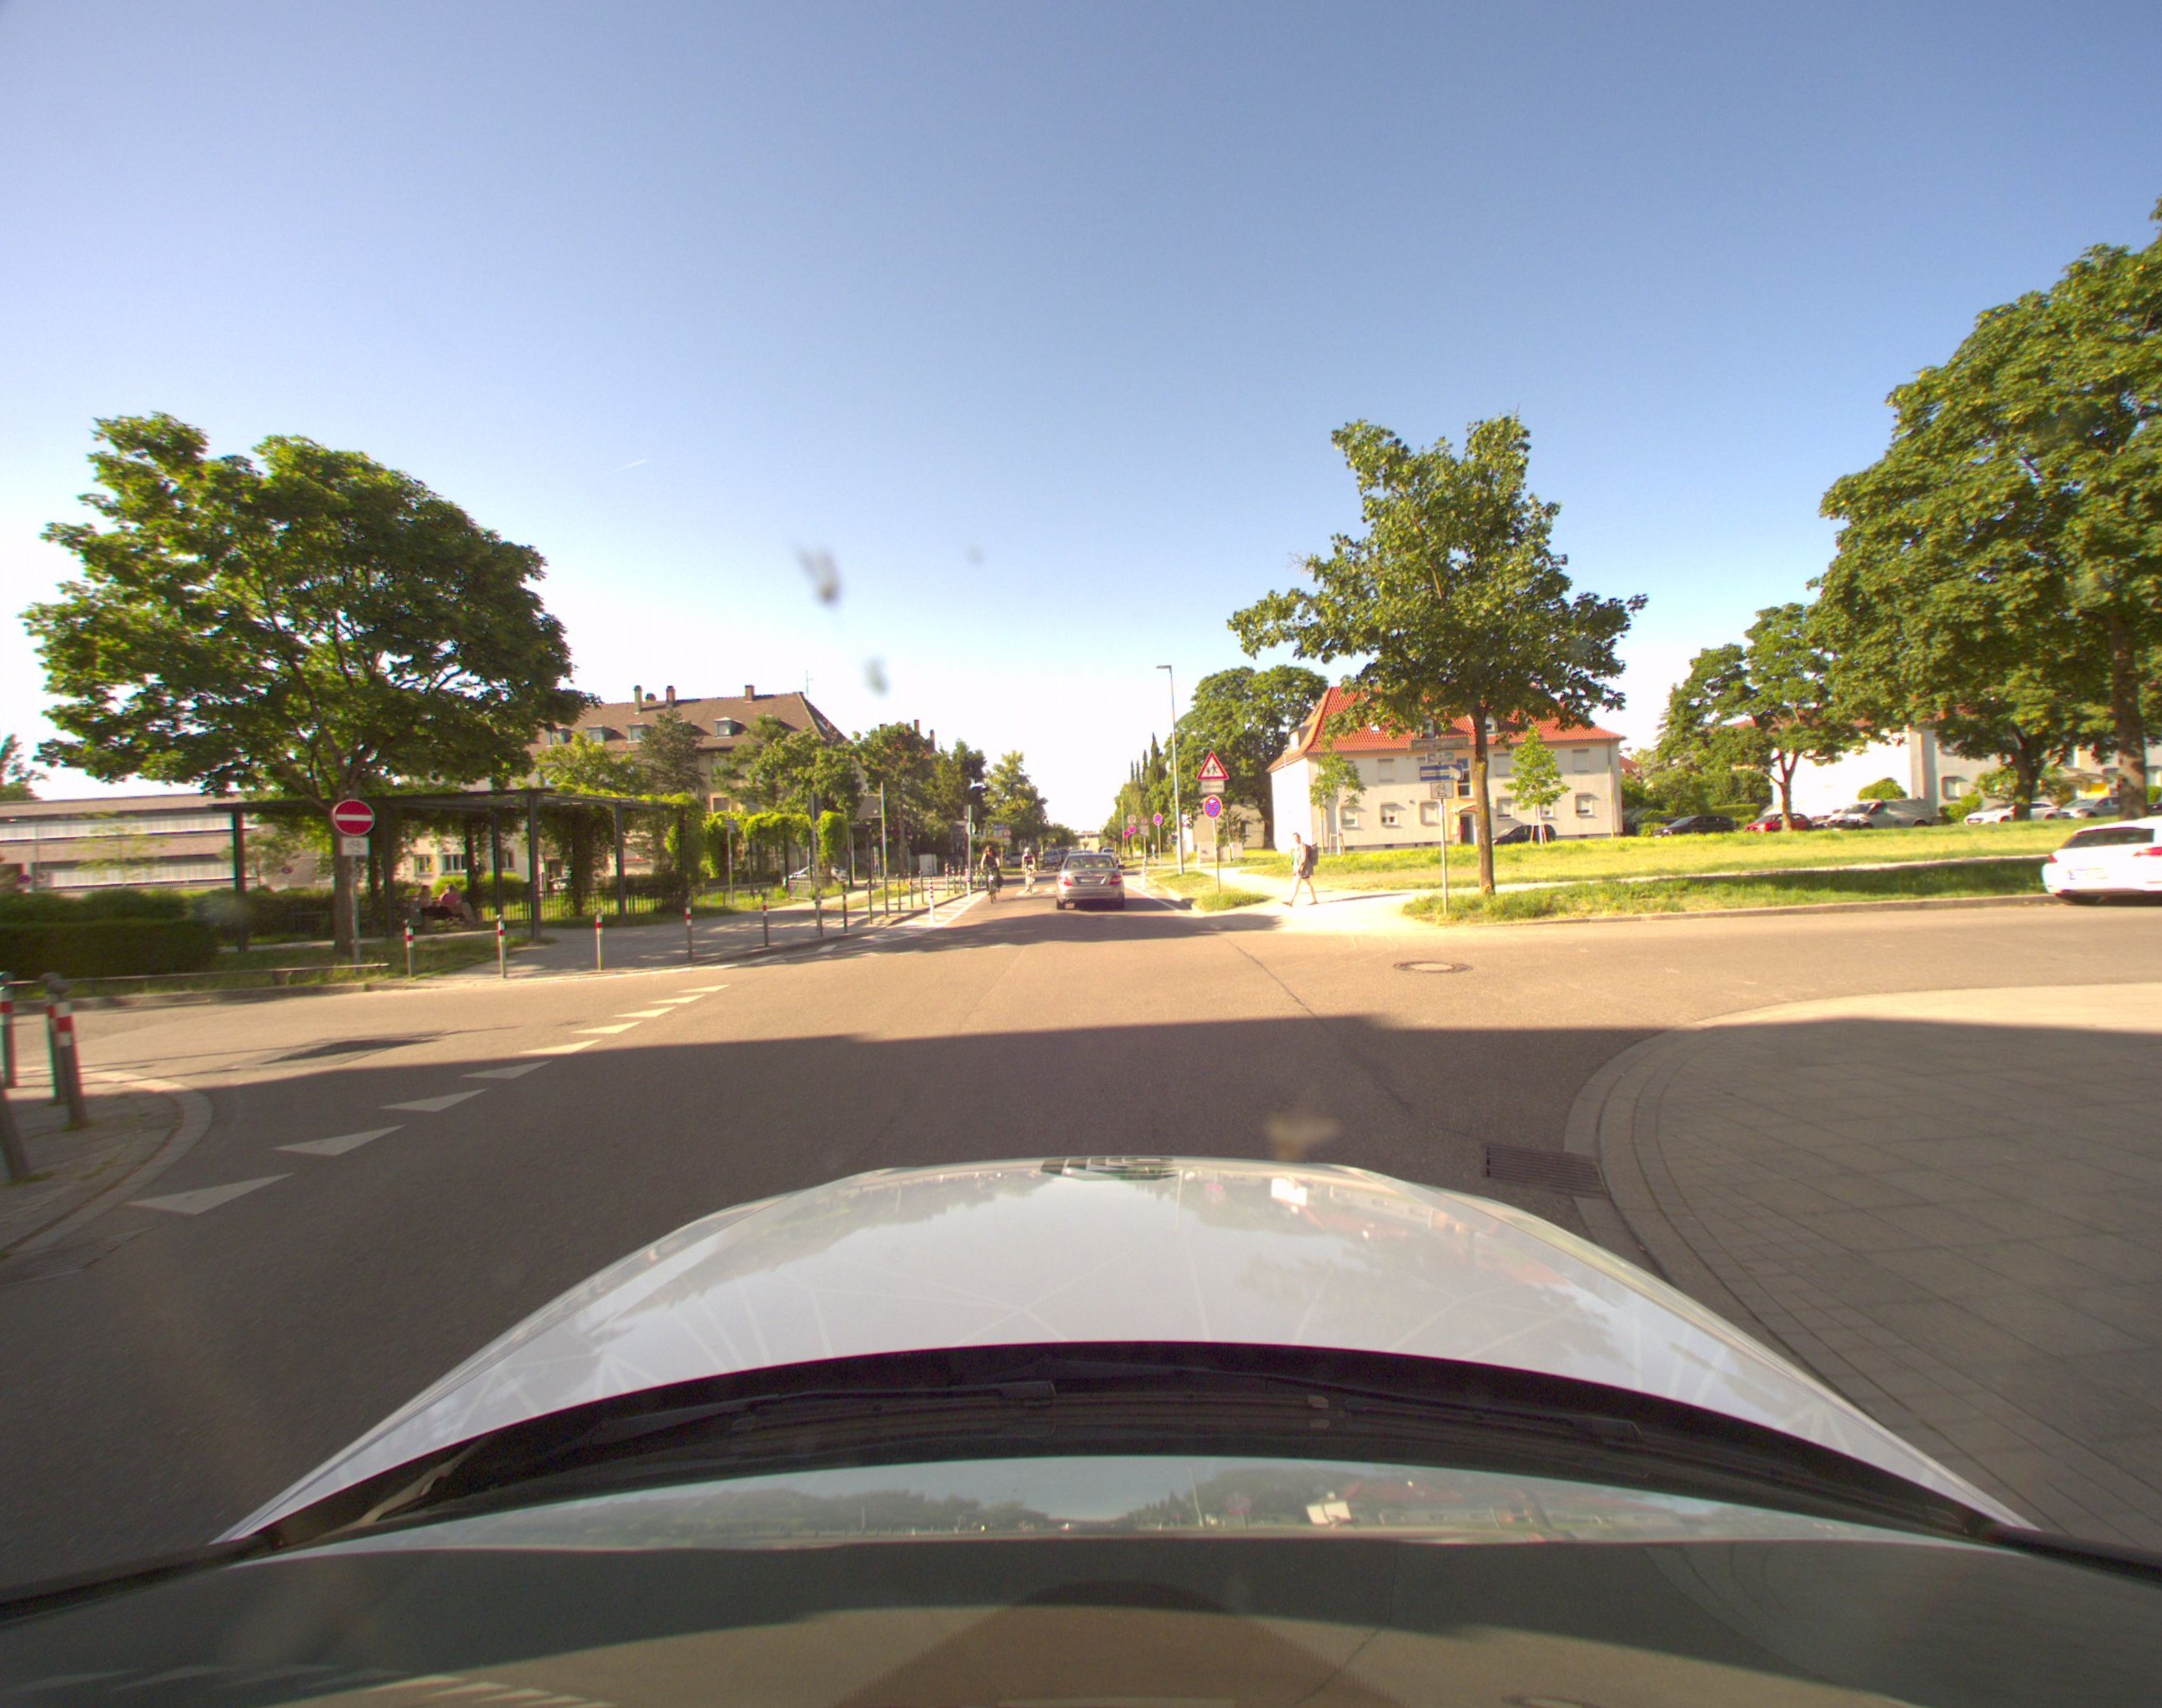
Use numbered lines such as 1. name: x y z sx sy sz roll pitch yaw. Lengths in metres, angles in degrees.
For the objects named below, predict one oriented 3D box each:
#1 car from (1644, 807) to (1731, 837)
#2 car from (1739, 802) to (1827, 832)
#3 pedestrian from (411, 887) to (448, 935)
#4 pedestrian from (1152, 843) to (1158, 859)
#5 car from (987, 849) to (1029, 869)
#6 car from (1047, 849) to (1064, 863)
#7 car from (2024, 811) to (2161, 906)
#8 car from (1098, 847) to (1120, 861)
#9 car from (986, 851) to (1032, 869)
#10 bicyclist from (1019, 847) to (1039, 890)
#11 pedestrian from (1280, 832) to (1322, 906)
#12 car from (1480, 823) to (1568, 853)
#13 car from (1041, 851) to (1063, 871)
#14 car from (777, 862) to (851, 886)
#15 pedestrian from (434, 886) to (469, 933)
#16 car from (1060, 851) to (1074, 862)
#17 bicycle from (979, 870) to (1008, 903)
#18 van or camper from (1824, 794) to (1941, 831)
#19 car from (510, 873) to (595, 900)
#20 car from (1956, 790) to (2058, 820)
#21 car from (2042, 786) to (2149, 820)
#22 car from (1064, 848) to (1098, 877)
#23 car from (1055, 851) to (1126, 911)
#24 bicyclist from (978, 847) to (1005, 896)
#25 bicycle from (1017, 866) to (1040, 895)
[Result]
1. car: 37.044 -1.956 49.806 3.862 1.587 1.781 -3 0 2
2. car: 43.035 -2.265 49.961 3.862 1.550 1.646 -3 0 2
3. pedestrian: -16.420 1.429 20.528 0.480 1.168 0.547 -1 -1 1
4. pedestrian: 7.307 -0.246 80.358 0.508 1.559 0.643 -1 -1 2
5. car: -6.220 0.438 69.417 3.489 1.533 1.641 -3 0 -6
6. car: -3.007 0.221 95.894 1.783 1.532 3.995 -3 0 -4
7. car: 17.731 0.008 12.792 3.793 1.391 1.603 -3 -4 1
8. car: 2.736 0.003 80.285 1.719 1.330 3.995 -3 0 -4
9. car: -6.428 0.504 72.782 3.976 1.524 1.755 -1 -1 -2
10. bicyclist: -1.829 0.506 28.904 0.570 1.509 0.655 -3 0 2
11. pedestrian: 4.958 0.334 18.328 0.640 1.623 0.621 -3 0 39
12. car: 27.132 -0.964 49.978 4.271 1.600 1.901 -3 0 2
13. car: -2.800 0.621 77.945 1.869 1.728 3.995 -3 0 -4
14. car: -16.537 1.249 50.599 3.977 1.376 1.998 -1 -1 -2
15. pedestrian: -16.437 1.442 21.275 0.479 1.168 0.548 -1 -1 2
16. car: -2.126 0.423 121.092 1.783 1.532 3.995 -3 0 -4
17. bicycle: -2.769 1.025 25.914 0.587 0.931 1.851 -3 0 2
18. van or camper: 45.903 -2.368 46.728 4.644 1.784 2.001 -3 0 2
19. car: -32.834 2.018 50.669 3.977 1.376 1.865 -3 0 -2
20. car: 56.777 -2.992 49.983 4.059 1.542 1.870 -3 0 2
21. car: 62.067 -3.105 49.886 4.059 1.784 1.870 -3 0 2
22. car: 0.029 0.460 43.575 1.701 1.448 4.202 -1 -1 0
23. car: 0.306 0.692 21.888 1.720 1.420 3.962 -1 -1 2
24. bicyclist: -2.814 0.543 25.715 0.678 1.509 0.655 -3 0 2
25. bicycle: -1.840 0.917 28.920 0.587 0.931 1.851 -3 0 2
